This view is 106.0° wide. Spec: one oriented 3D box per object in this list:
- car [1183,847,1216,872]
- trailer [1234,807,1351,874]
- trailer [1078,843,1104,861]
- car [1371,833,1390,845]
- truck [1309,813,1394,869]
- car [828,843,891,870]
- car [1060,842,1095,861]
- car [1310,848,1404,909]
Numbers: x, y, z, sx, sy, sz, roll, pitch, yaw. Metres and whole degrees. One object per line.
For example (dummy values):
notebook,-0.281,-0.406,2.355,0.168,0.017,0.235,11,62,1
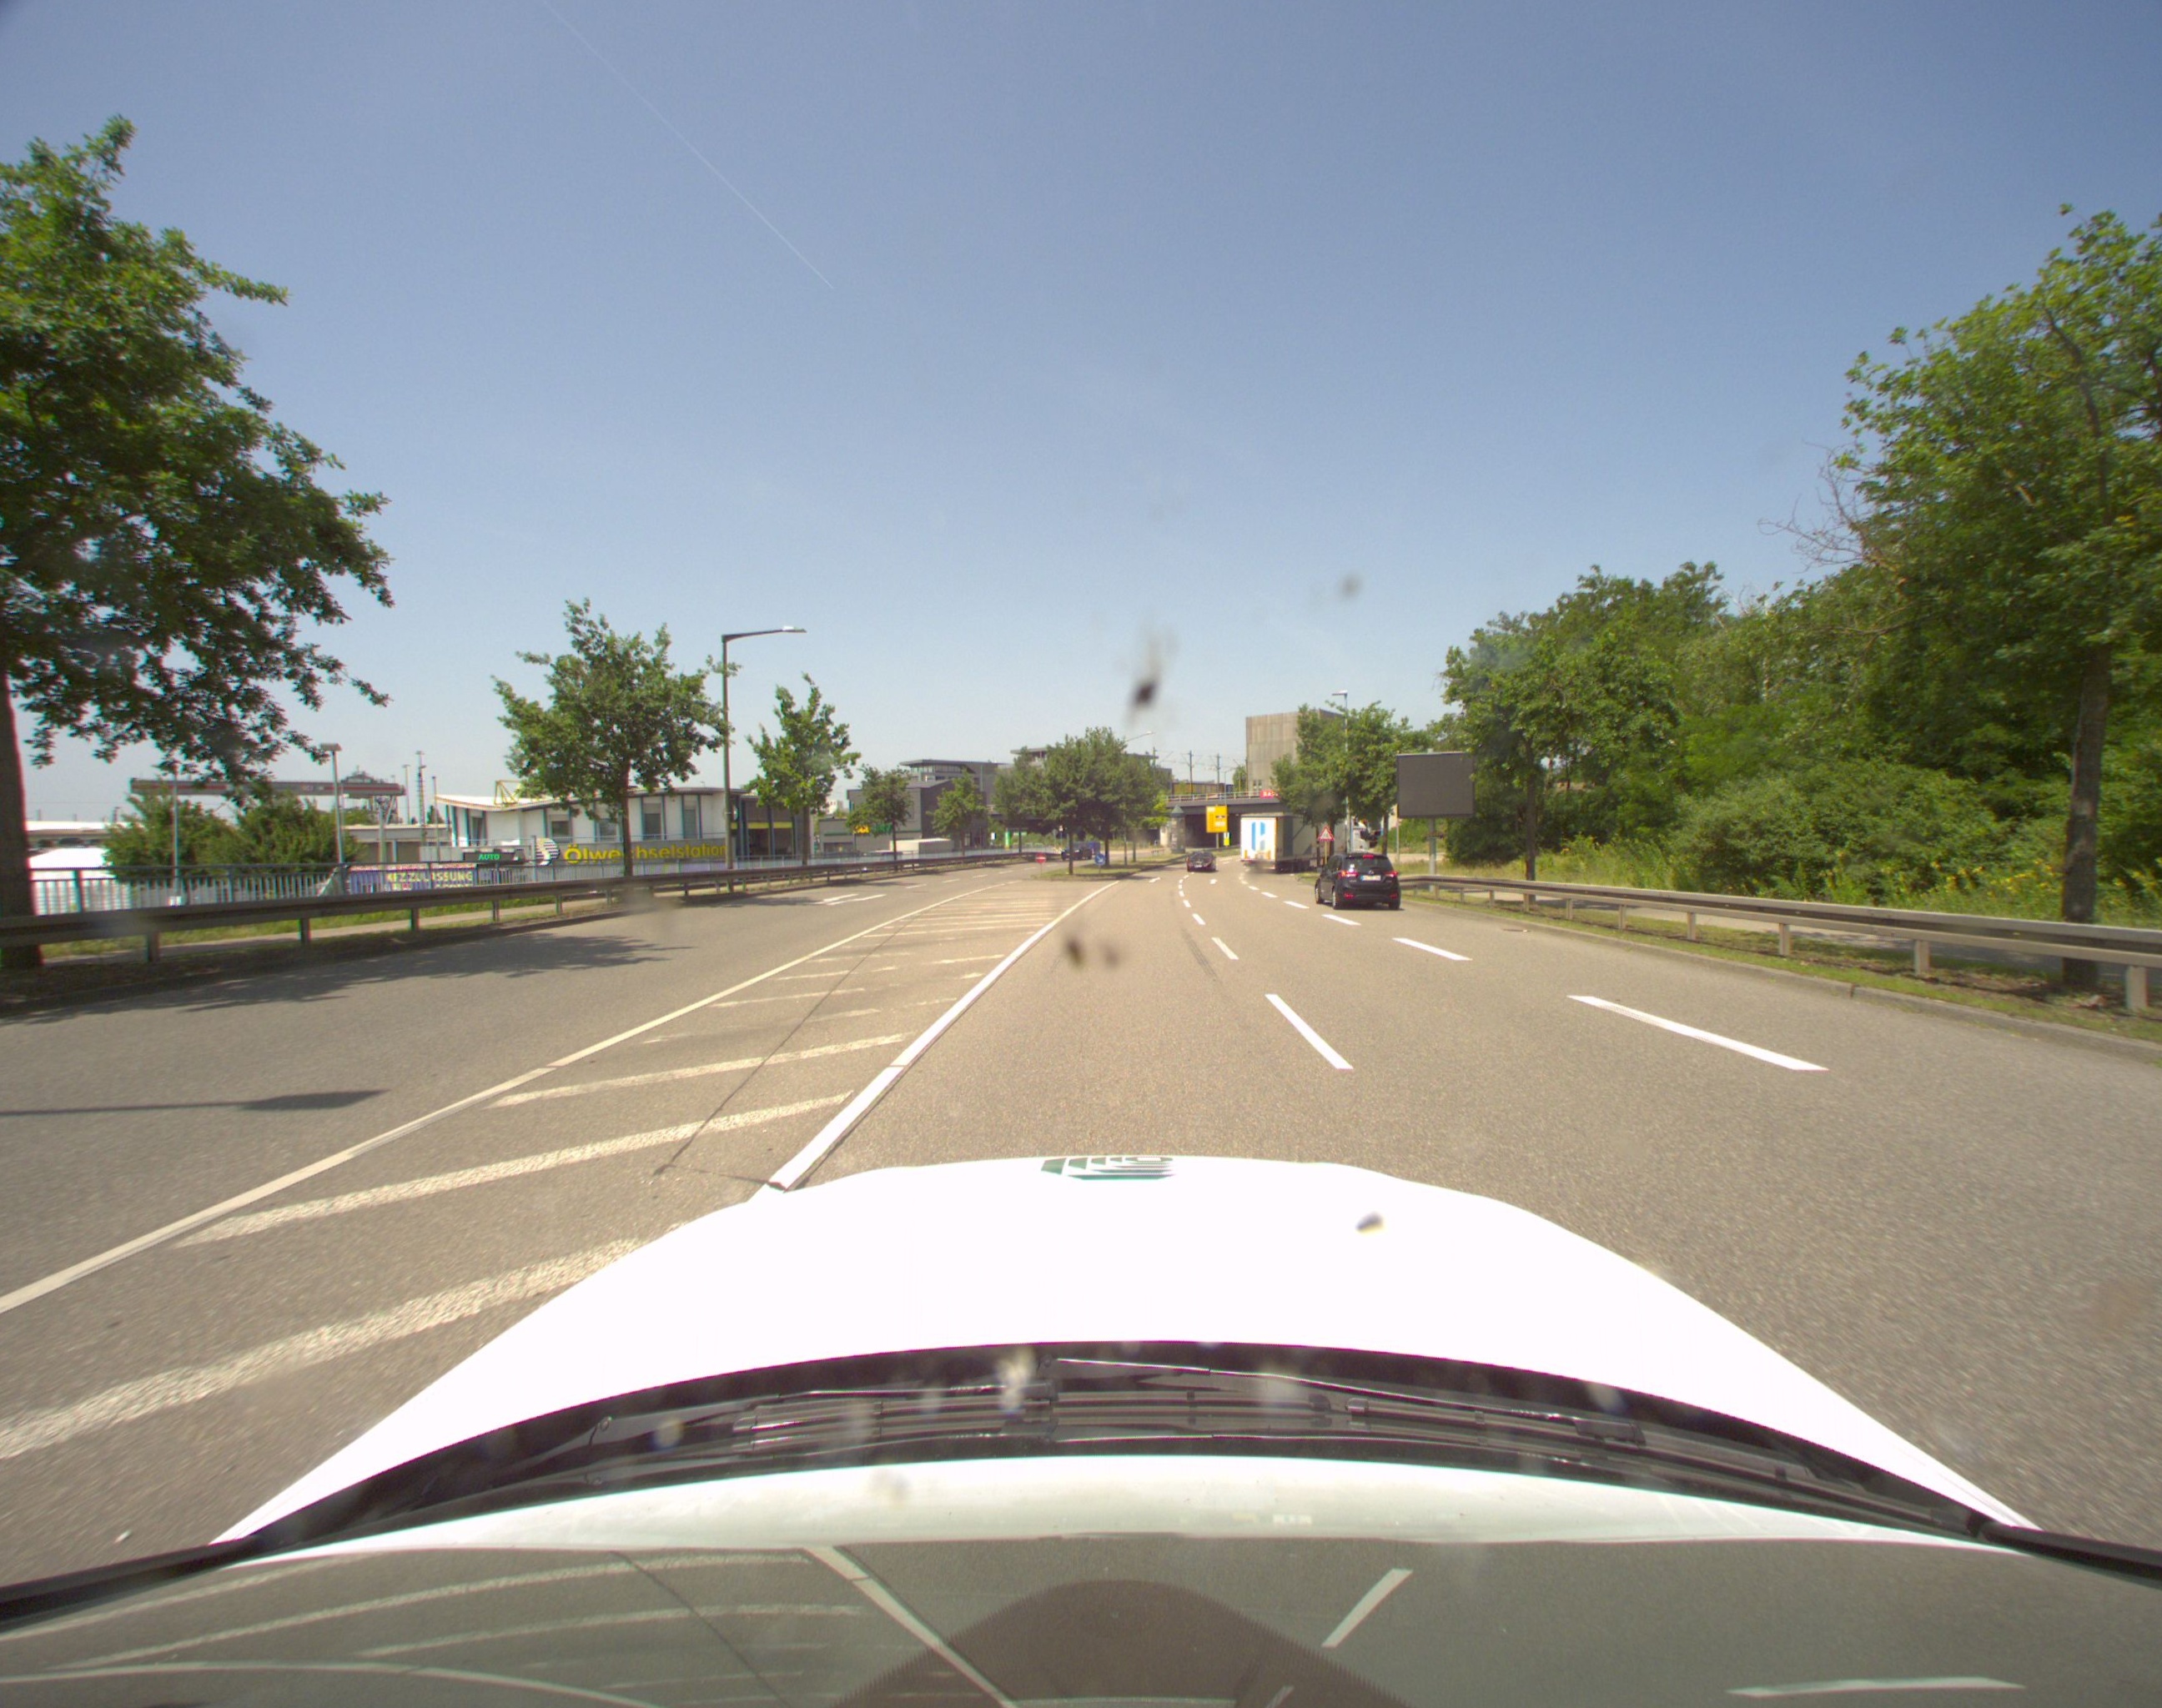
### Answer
car,8.258,0.352,56.303,1.944,1.633,4.294,-2,0,11
trailer,16.062,-1.014,60.359,3.049,4.367,14.869,3,2,36
trailer,1.012,-0.190,79.908,1.492,1.615,3.324,-3,-1,19
car,46.569,-2.321,126.555,1.822,1.890,4.026,0,2,35
truck,22.060,-1.071,66.412,6.089,4.367,3.061,1,2,-26
car,-14.213,0.138,52.524,1.884,1.569,4.657,-3,0,13
car,-0.288,-0.199,76.234,1.899,1.652,4.429,-3,-1,19
car,7.925,0.697,23.743,1.758,1.599,4.085,-1,-1,7
